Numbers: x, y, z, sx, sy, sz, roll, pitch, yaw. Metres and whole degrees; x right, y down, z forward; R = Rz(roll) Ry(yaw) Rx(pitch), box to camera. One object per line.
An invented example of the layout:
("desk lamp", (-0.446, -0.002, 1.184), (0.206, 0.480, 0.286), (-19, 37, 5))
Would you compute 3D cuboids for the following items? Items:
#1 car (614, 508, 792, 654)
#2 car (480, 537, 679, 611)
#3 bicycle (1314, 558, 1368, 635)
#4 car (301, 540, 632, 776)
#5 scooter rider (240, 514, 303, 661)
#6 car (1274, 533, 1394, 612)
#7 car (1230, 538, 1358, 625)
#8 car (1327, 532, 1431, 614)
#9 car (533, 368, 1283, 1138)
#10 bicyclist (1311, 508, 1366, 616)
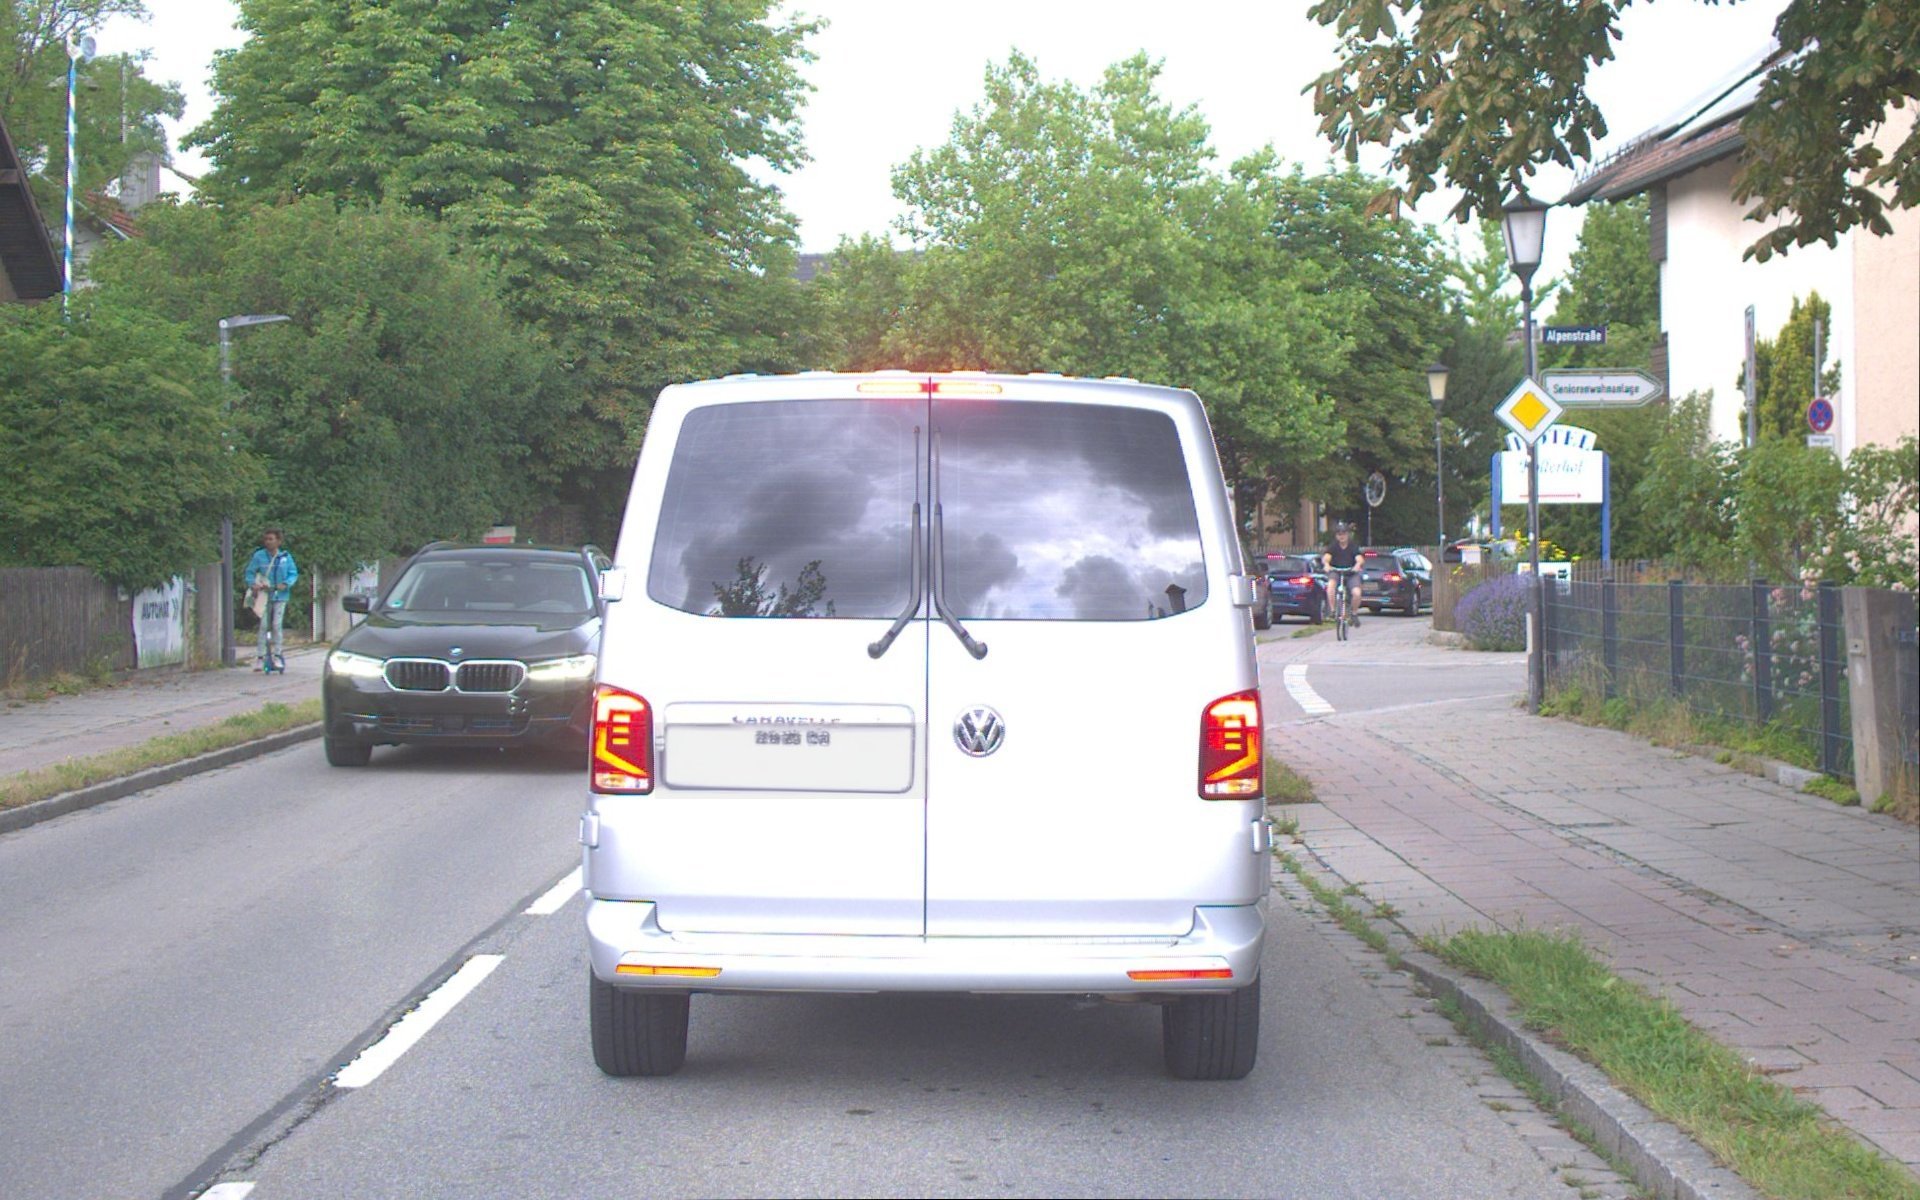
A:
("car", (-3.388, -0.288, 46.172), (1.964, 1.847, 4.948), (0, 1, 0))
("car", (-7.799, -0.548, 70.250), (3.986, 1.481, 2.001), (0, 1, -8))
("bicycle", (5.804, -0.067, 52.466), (0.764, 1.139, 1.845), (0, 1, 4))
("car", (-3.317, 0.326, 23.883), (1.846, 1.449, 4.549), (1, 1, -3))
("scooter rider", (-7.069, -0.133, 35.310), (0.502, 1.484, 0.716), (0, 1, -1))
("car", (7.458, -0.568, 68.296), (1.882, 1.530, 3.918), (0, 1, 14))
("car", (6.097, -0.360, 62.444), (1.882, 1.530, 3.919), (0, 1, 12))
("car", (9.203, -0.607, 75.326), (1.882, 1.742, 4.078), (0, 1, 12))
("car", (-0.114, 0.352, 10.613), (1.881, 1.934, 3.921), (0, 1, 1))
("bicyclist", (5.760, -0.585, 52.371), (0.736, 1.627, 0.890), (0, 1, 1))
